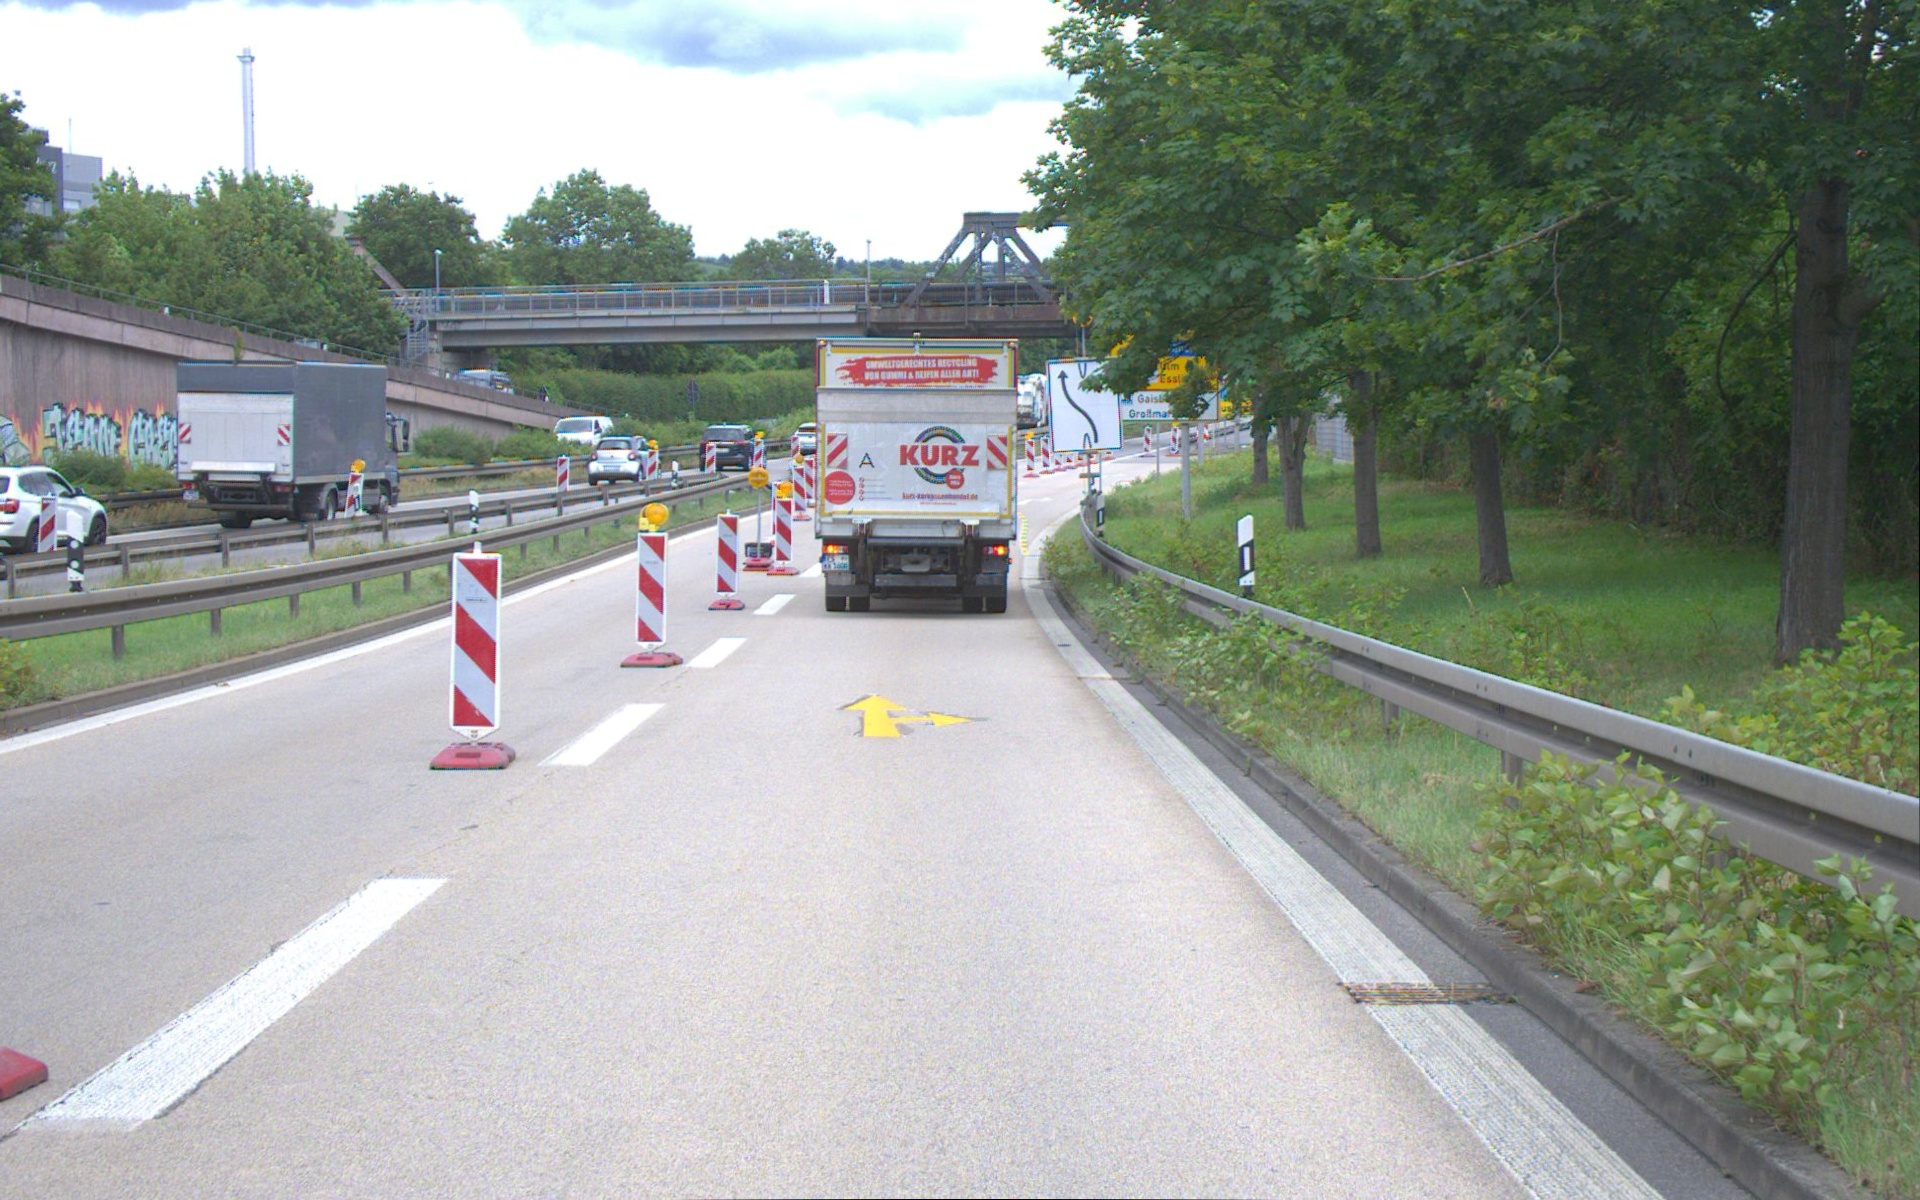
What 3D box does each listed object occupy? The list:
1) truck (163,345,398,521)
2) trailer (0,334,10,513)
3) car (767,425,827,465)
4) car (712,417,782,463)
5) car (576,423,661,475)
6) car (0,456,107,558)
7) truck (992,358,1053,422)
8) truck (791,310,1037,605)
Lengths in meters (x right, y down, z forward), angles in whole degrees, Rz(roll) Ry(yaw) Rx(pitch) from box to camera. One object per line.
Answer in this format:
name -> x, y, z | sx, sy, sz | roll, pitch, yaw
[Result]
truck -> -14.660, -3.635, 74.811 | 3.051, 3.643, 7.395 | 0, 3, 5
trailer -> -25.184, -3.924, 75.943 | 2.772, 4.279, 13.977 | 0, 3, 8
car -> -6.634, -6.321, 140.316 | 1.994, 1.612, 4.000 | 0, 3, 4
car -> -7.605, -5.730, 123.102 | 1.994, 1.612, 4.000 | 0, 3, 4
car -> -10.716, -4.771, 108.183 | 1.994, 1.612, 4.000 | 0, 3, 4
car -> -16.848, -1.678, 60.797 | 1.994, 1.706, 4.100 | 0, 3, 9
truck -> 3.873, -12.833, 210.722 | 3.287, 3.839, 7.664 | 0, 3, 4
truck -> -0.590, -1.882, 46.711 | 3.051, 3.660, 7.928 | 0, 2, 0
